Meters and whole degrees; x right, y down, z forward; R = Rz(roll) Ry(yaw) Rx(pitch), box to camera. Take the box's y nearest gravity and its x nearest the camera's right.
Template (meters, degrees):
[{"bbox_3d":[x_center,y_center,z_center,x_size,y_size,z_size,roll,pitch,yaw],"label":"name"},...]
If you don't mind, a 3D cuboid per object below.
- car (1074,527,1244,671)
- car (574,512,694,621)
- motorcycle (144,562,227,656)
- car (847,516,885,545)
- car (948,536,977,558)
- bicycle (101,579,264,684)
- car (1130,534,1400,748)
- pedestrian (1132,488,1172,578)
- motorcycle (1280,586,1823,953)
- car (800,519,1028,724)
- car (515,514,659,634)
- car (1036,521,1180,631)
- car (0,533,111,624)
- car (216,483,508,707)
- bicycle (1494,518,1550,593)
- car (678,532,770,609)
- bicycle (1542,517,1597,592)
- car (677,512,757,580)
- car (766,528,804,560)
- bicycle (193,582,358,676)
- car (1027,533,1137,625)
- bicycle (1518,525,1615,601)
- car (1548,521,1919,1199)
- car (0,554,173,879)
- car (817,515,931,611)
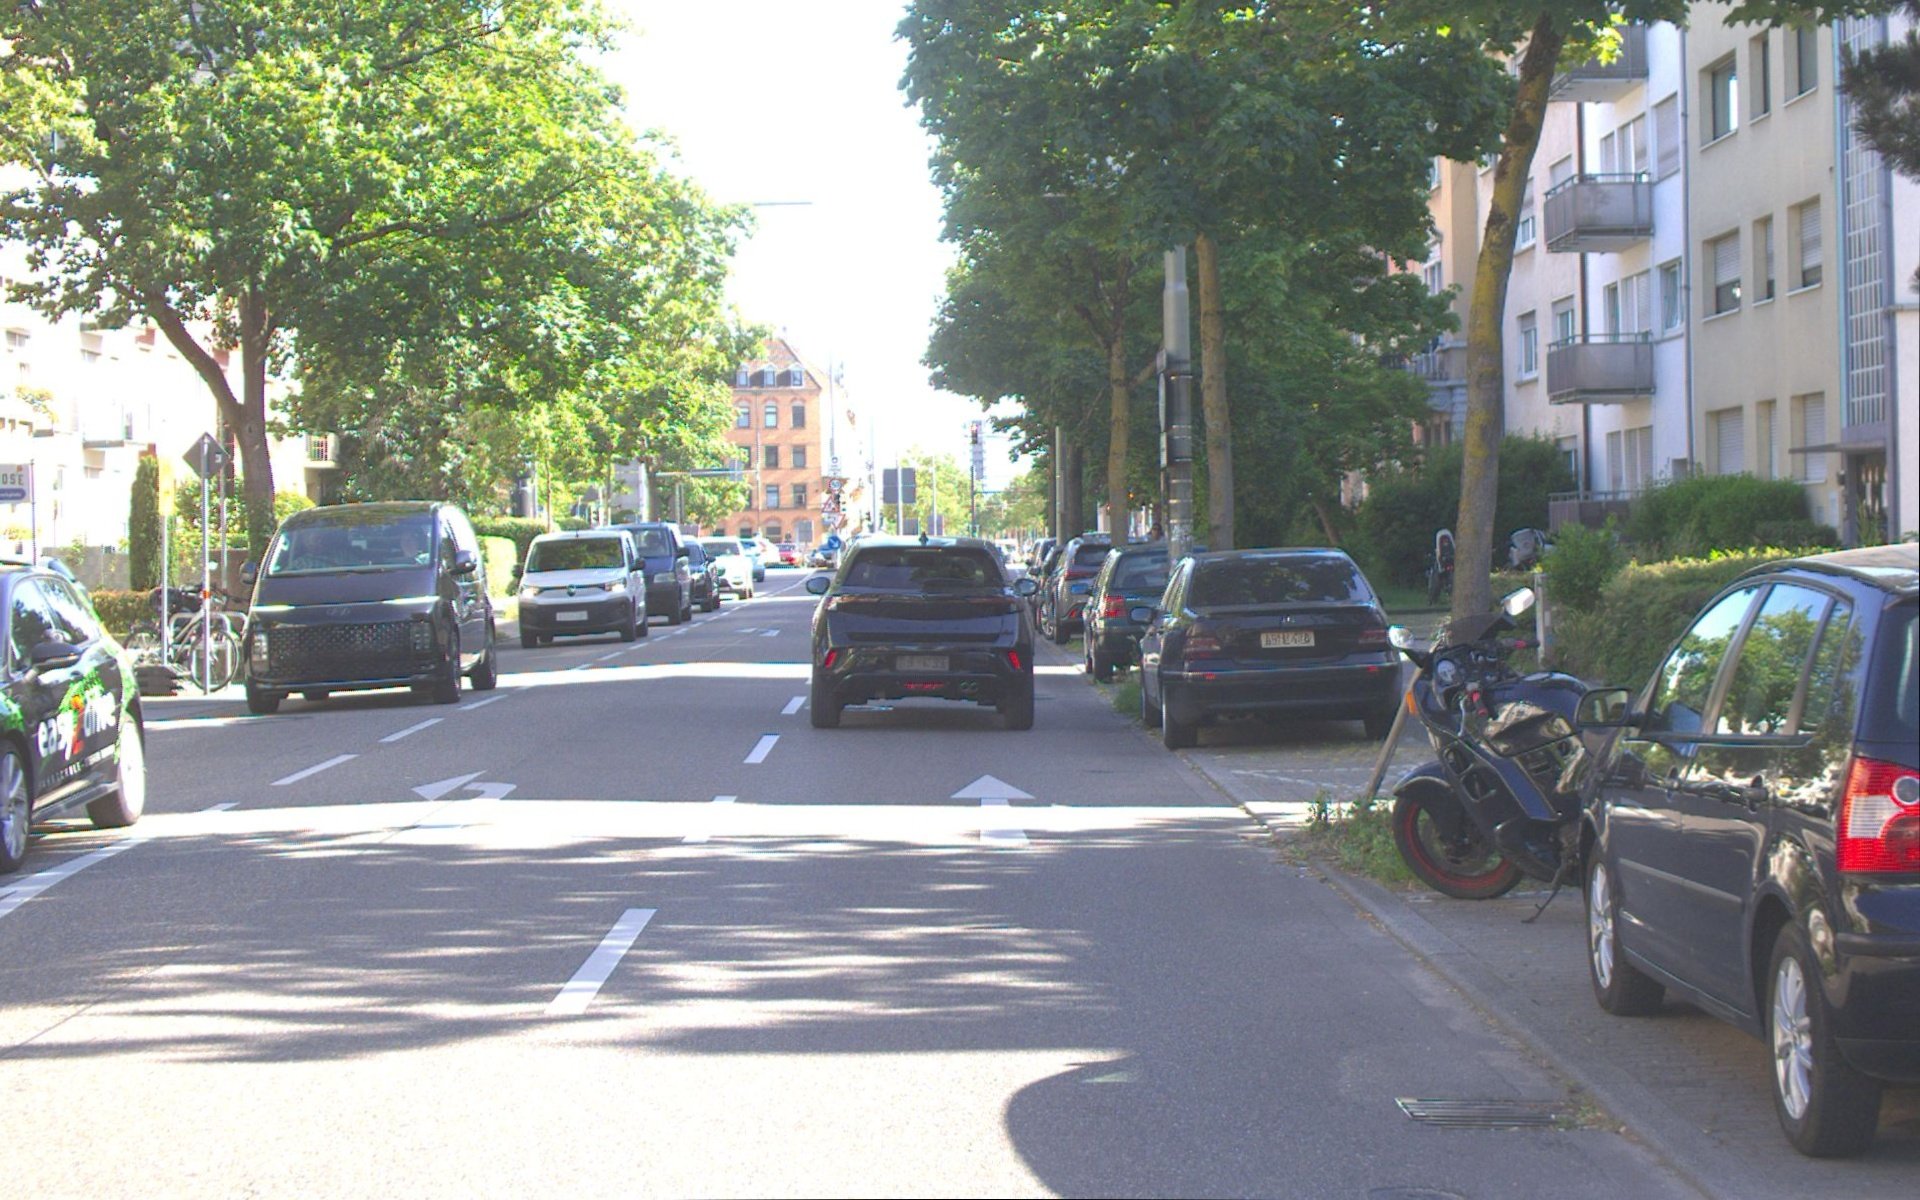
[{"bbox_3d":[2.093,-0.053,36.999,1.692,1.423,4.147,-1,1,2],"label":"car"},{"bbox_3d":[-6.210,-0.667,65.868,1.803,1.904,4.712,-3,1,-1],"label":"car"},{"bbox_3d":[-9.692,0.102,43.070,0.461,1.122,1.717,0,2,7],"label":"motorcycle"},{"bbox_3d":[-4.907,-3.659,180.104,1.771,1.447,3.885,-1,1,1],"label":"car"},{"bbox_3d":[0.199,-3.801,245.973,1.993,1.514,4.000,2,1,1],"label":"car"},{"bbox_3d":[-8.721,0.339,38.543,1.933,1.131,0.461,1,2,27],"label":"bicycle"},{"bbox_3d":[2.204,0.239,25.820,1.586,1.391,4.454,-2,1,0],"label":"car"},{"bbox_3d":[3.630,-1.271,64.944,0.669,1.676,0.776,-1,1,-1],"label":"pedestrian"},{"bbox_3d":[2.235,0.600,13.402,0.697,1.267,2.432,-3,2,-28],"label":"motorcycle"},{"bbox_3d":[-0.377,0.136,28.292,1.745,1.568,3.558,0,1,-1],"label":"car"},{"bbox_3d":[-5.907,-0.442,54.865,1.815,1.737,4.493,-3,1,-1],"label":"car"},{"bbox_3d":[2.088,-0.375,49.599,1.714,1.484,4.235,-1,1,-2],"label":"car"},{"bbox_3d":[-16.525,-0.373,57.916,3.987,1.481,1.881,0,2,-1],"label":"car"},{"bbox_3d":[-5.791,-0.100,33.942,2.016,1.945,5.179,-3,1,-1],"label":"car"},{"bbox_3d":[10.042,-0.796,61.484,0.623,1.283,1.842,-4,1,0],"label":"bicycle"},{"bbox_3d":[-5.213,-0.683,76.380,1.719,1.560,4.343,-4,1,-1],"label":"car"},{"bbox_3d":[10.851,-0.825,61.270,0.591,1.283,1.689,-4,1,0],"label":"bicycle"},{"bbox_3d":[-6.378,-1.436,90.696,1.806,1.642,4.673,-3,1,-1],"label":"car"},{"bbox_3d":[-9.355,-2.996,183.583,1.791,1.611,4.000,-1,1,0],"label":"car"},{"bbox_3d":[-8.226,0.344,41.316,2.025,1.088,0.462,1,2,23],"label":"bicycle"},{"bbox_3d":[1.939,-0.364,55.608,1.612,1.379,3.976,-2,1,0],"label":"car"},{"bbox_3d":[10.544,-0.639,59.796,1.537,1.218,0.463,-3,1,30],"label":"bicycle"},{"bbox_3d":[2.732,0.544,9.430,1.620,1.494,3.649,-2,1,1],"label":"car"},{"bbox_3d":[-5.291,0.558,17.342,1.691,1.448,4.174,-3,1,-1],"label":"car"},{"bbox_3d":[-1.451,-0.660,59.302,1.830,1.573,3.839,-1,1,0],"label":"car"}]
